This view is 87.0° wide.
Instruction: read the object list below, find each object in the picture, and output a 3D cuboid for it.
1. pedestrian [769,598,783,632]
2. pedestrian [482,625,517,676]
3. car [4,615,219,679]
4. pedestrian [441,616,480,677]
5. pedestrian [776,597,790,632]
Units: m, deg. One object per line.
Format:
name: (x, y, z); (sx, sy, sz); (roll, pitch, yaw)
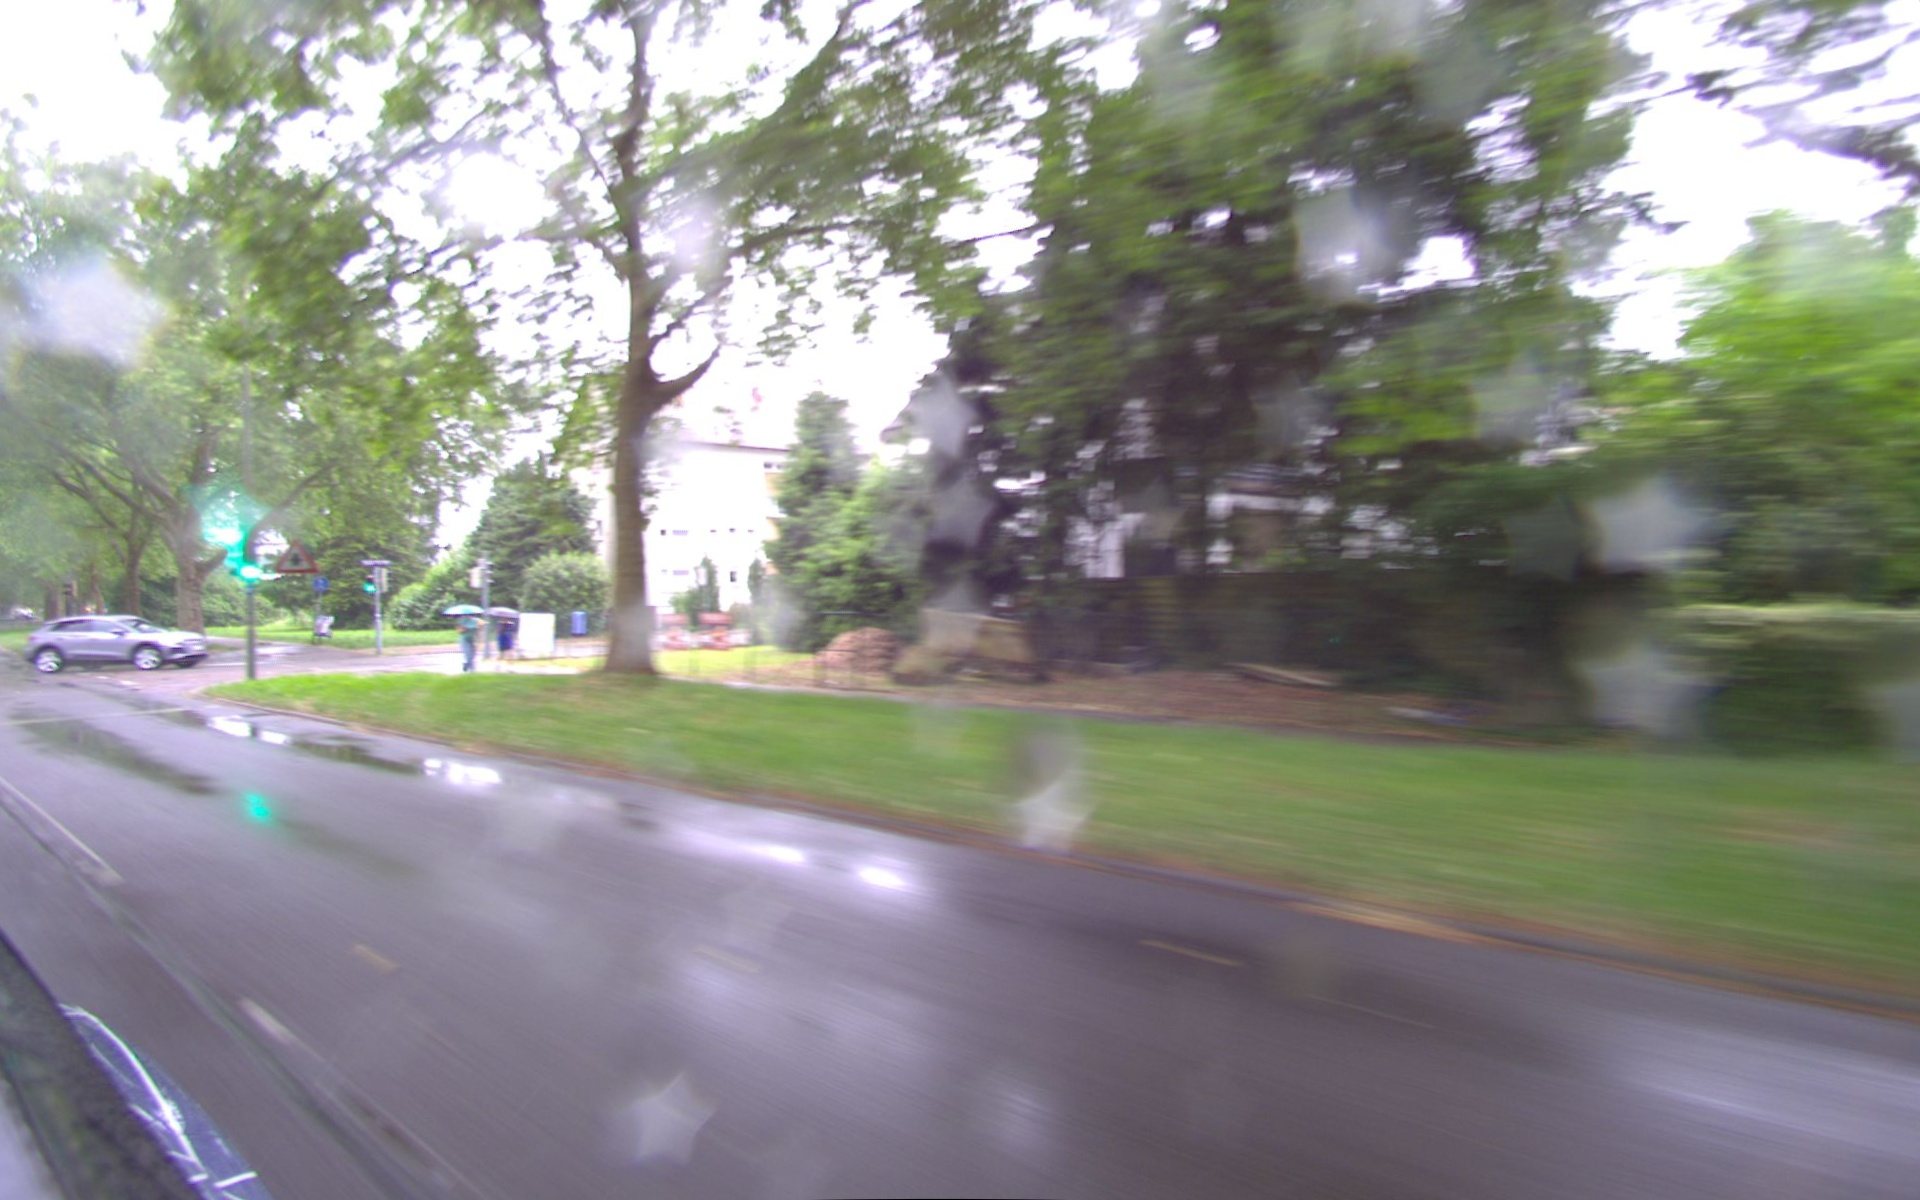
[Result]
pedestrian: (-9.544, 0.785, 52.564); (0.460, 1.717, 0.500); (-1, 0, 33)
pedestrian: (-11.803, 1.280, 25.931); (0.849, 1.271, 0.511); (-1, 0, 41)
car: (-25.176, 1.359, 30.161); (4.652, 1.700, 2.001); (-1, 0, -2)
pedestrian: (-12.493, 1.155, 25.308); (0.856, 1.464, 0.591); (-1, 0, 41)
pedestrian: (-9.053, 0.739, 51.809); (0.460, 1.796, 0.500); (-1, 0, 33)
